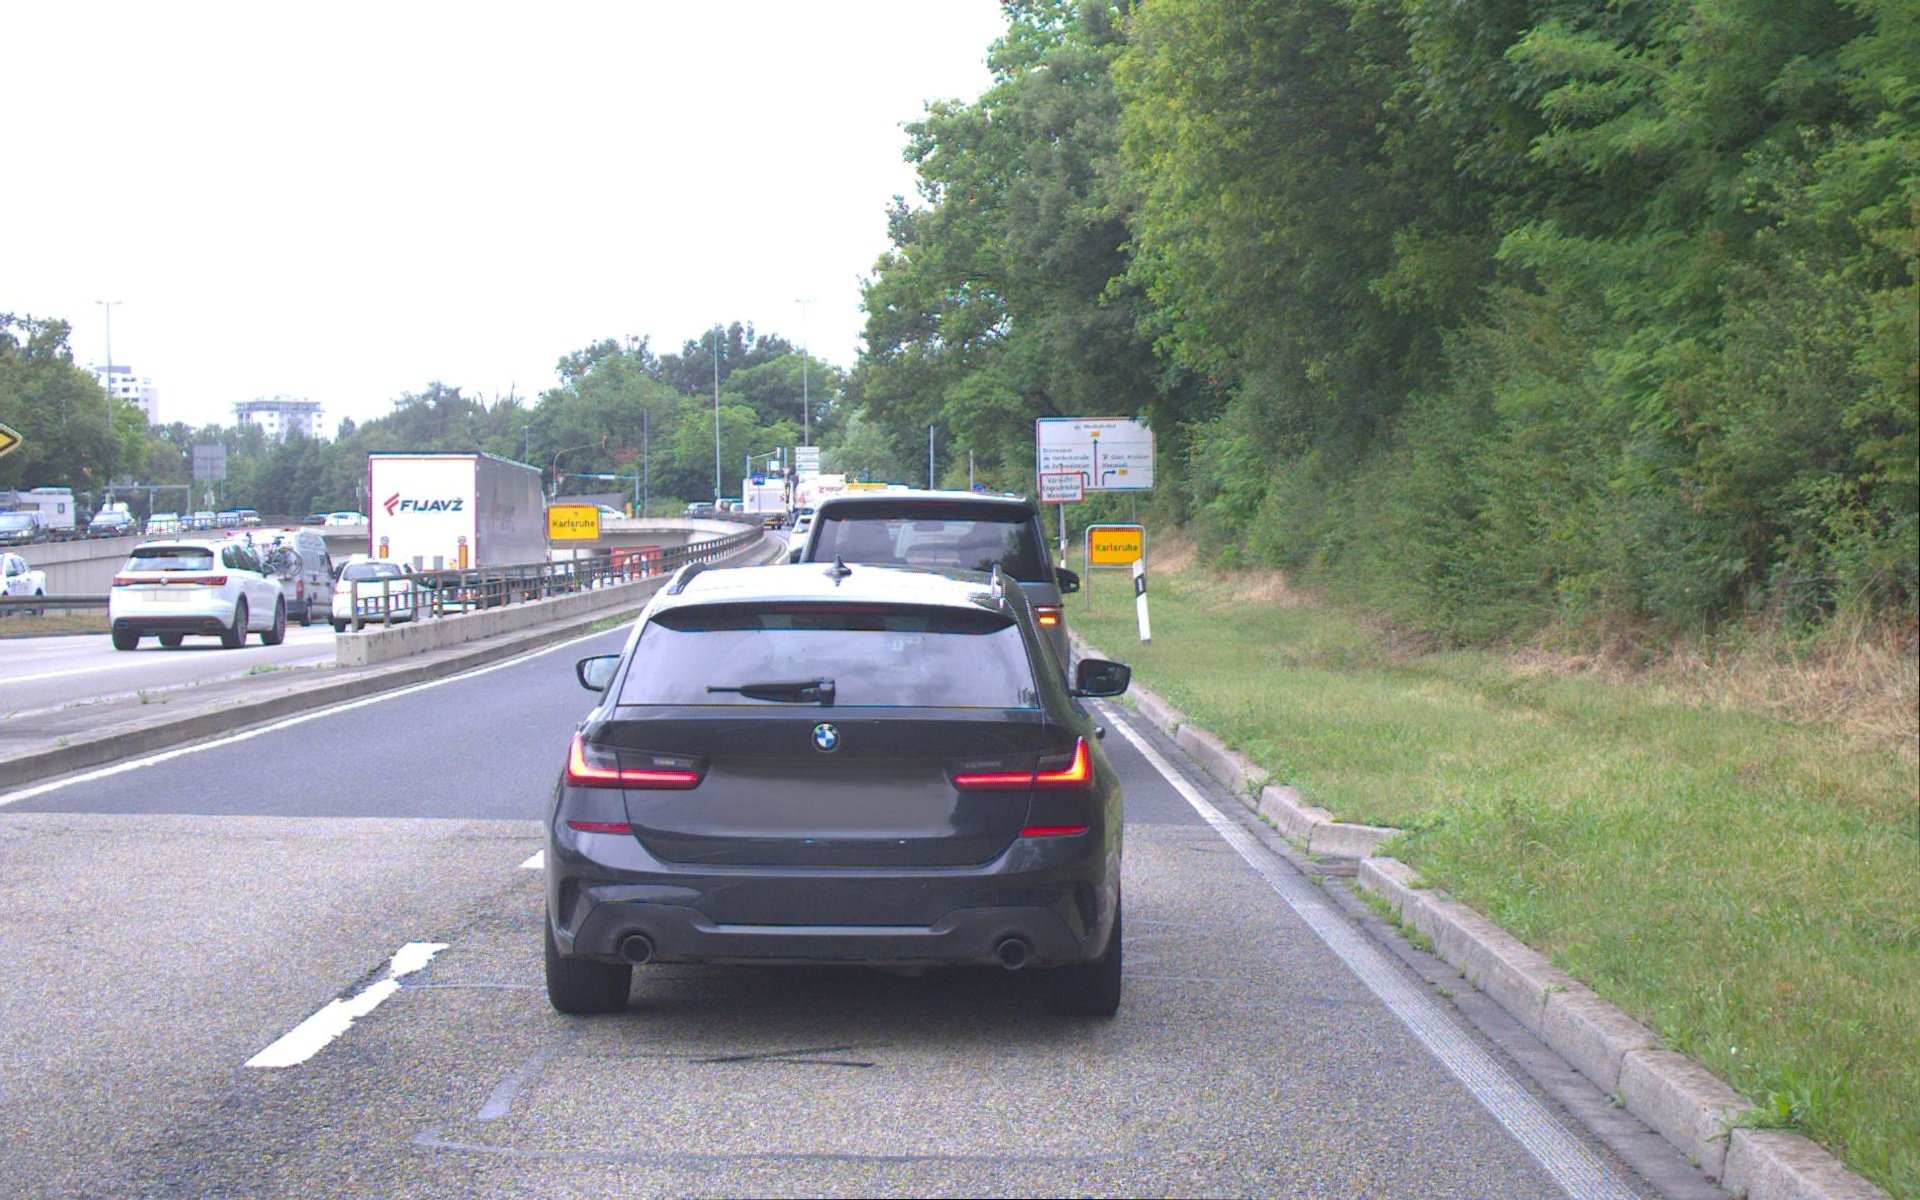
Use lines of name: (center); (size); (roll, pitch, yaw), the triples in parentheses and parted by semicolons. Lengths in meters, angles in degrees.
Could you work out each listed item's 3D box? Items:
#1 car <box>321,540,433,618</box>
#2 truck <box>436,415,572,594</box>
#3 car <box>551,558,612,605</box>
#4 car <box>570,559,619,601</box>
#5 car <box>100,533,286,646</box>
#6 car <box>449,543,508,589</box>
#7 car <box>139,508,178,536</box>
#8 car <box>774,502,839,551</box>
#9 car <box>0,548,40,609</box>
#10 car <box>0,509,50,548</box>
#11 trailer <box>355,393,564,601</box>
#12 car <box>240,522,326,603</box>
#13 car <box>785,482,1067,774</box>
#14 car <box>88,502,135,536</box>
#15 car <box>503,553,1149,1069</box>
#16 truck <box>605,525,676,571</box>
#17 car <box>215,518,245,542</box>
car: (-11.884, -0.449, 70.236); (1.768, 1.544, 3.493); (0, 1, -1)
truck: (-12.363, -2.564, 93.448); (3.084, 4.681, 4.232); (1, 1, 0)
car: (-12.706, -0.625, 115.577); (1.701, 1.523, 3.470); (0, 1, -1)
car: (-13.351, -0.737, 125.783); (1.448, 1.485, 3.062); (0, 1, 1)
car: (-11.990, -0.198, 53.983); (1.946, 1.686, 4.507); (0, 1, -1)
car: (-16.606, -1.182, 118.584); (1.585, 1.526, 3.470); (0, 1, -1)
car: (-41.950, -4.070, 179.943); (1.437, 1.441, 3.244); (0, 1, -3)
car: (-5.123, -2.465, 115.351); (1.931, 1.590, 3.877); (0, 1, 1)
car: (-24.166, -0.553, 85.512); (1.677, 1.473, 3.709); (0, 1, -2)
car: (-38.831, -2.948, 142.414); (1.437, 1.568, 3.244); (0, 1, -1)
trailer: (-12.275, -2.456, 85.864); (3.132, 4.709, 14.559); (1, 1, 0)
car: (-17.413, -0.973, 88.565); (1.443, 2.037, 3.680); (0, 1, 1)
car: (-0.220, 0.147, 24.031); (1.796, 1.865, 4.000); (0, 1, 0)
car: (-40.117, -3.836, 162.552); (1.437, 1.580, 3.244); (0, 1, -1)
car: (-0.448, 0.580, 11.847); (1.846, 1.461, 4.000); (0, 1, -2)
truck: (-17.504, -2.863, 188.856); (3.274, 2.500, 7.661); (0, 1, -1)
car: (-46.287, -4.446, 217.999); (1.434, 1.492, 3.164); (0, 1, -5)
